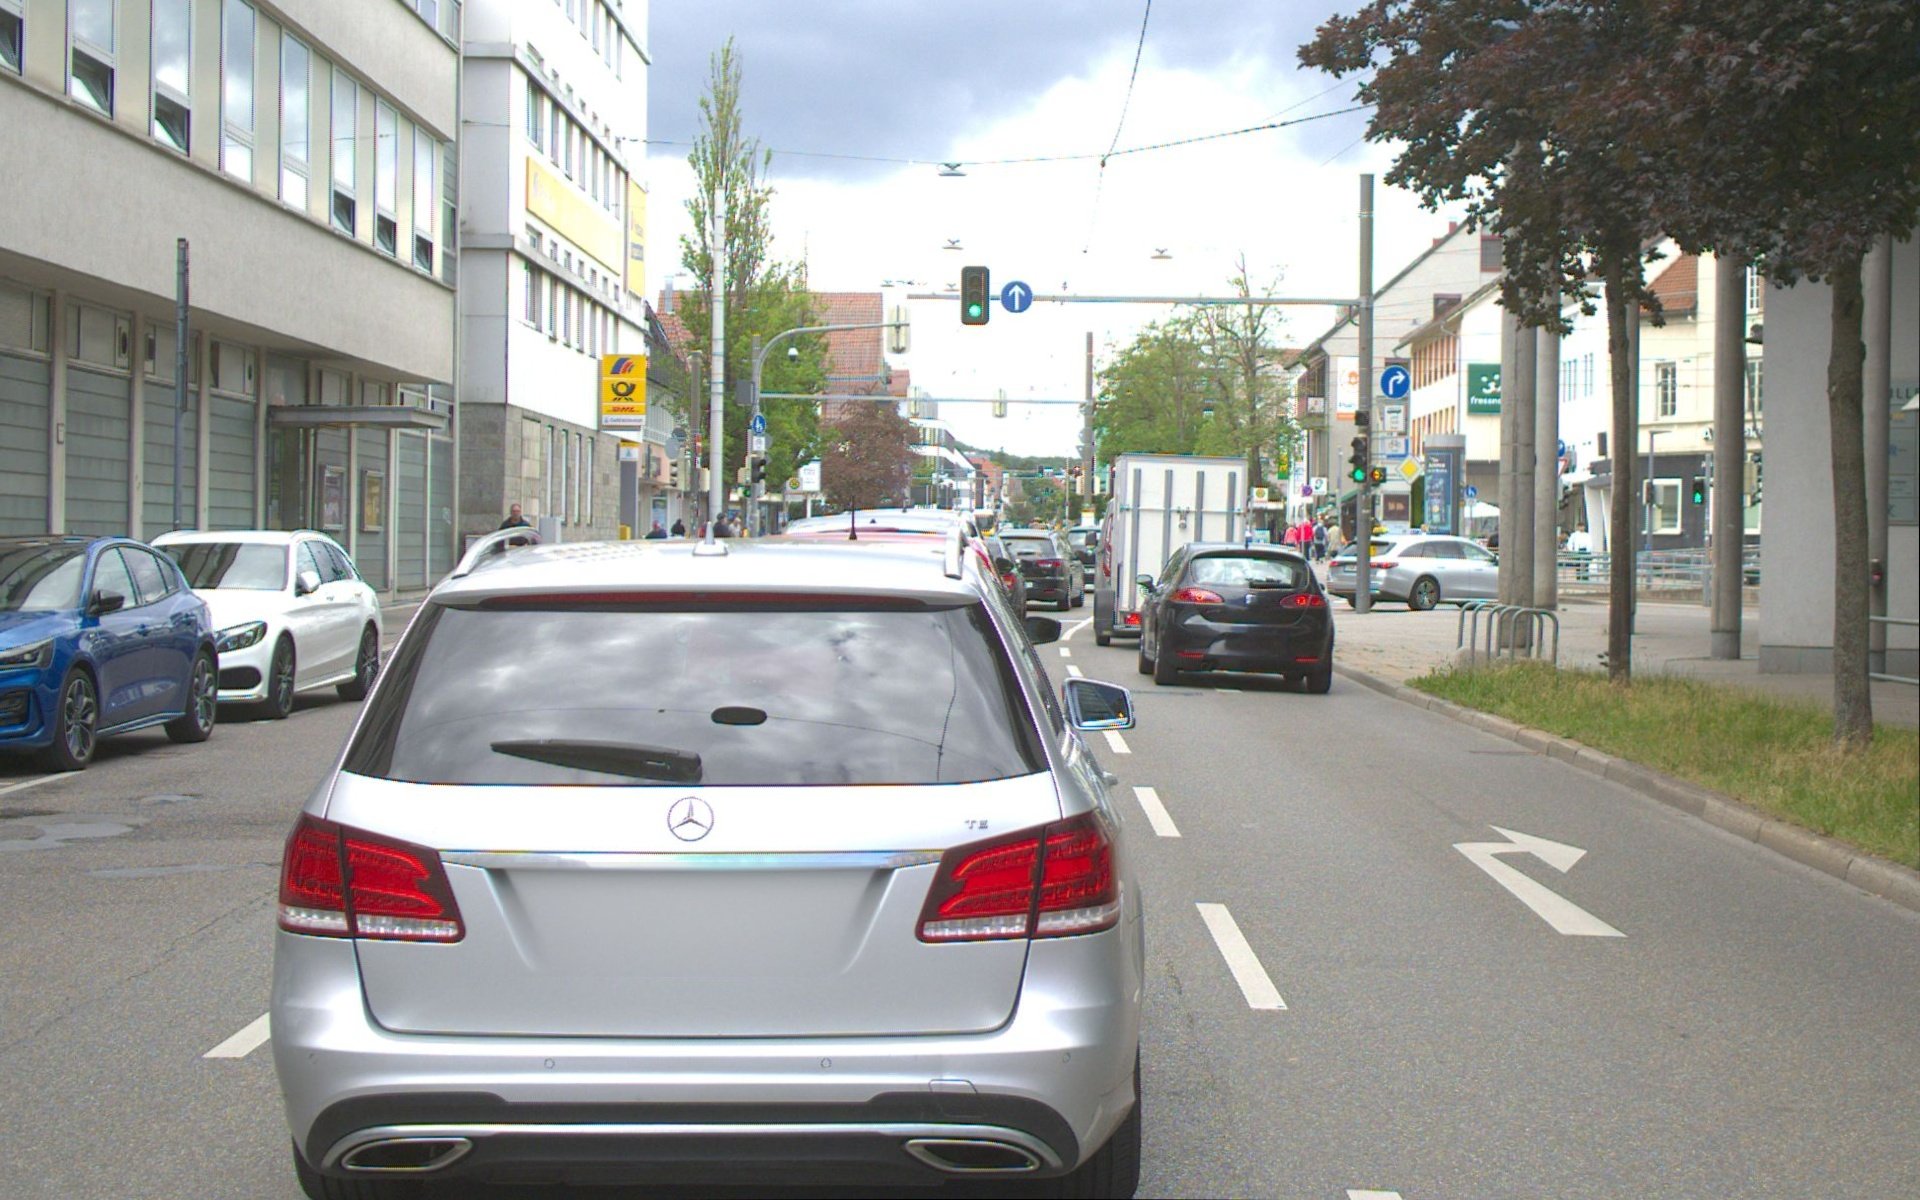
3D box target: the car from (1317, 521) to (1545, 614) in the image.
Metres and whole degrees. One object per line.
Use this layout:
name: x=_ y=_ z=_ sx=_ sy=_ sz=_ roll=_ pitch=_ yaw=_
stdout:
car: x=9.181 y=-0.617 z=66.841 sx=4.546 sy=1.600 sz=1.739 roll=2 pitch=2 yaw=-41

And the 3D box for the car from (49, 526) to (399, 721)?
car: x=-5.912 y=0.129 z=28.163 sx=1.670 sy=1.429 sz=4.552 roll=-1 pitch=1 yaw=3

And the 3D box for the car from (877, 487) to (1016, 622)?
car: x=-0.200 y=-0.655 z=47.703 sx=1.828 sy=1.779 sz=4.000 roll=1 pitch=1 yaw=-1

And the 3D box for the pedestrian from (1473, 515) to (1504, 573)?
pedestrian: x=15.725 y=-1.680 z=102.327 sx=0.649 sy=1.712 sz=0.703 roll=1 pitch=1 yaw=36

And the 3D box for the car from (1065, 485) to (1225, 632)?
car: x=2.647 y=-0.631 z=50.135 sx=1.877 sy=1.939 sz=4.907 roll=3 pitch=1 yaw=-1

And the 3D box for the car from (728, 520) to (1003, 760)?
car: x=-0.638 y=0.208 z=23.792 sx=1.734 sy=1.503 sz=4.000 roll=0 pitch=1 yaw=-1

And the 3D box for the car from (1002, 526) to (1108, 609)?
car: x=1.695 y=-0.618 z=62.674 sx=1.734 sy=1.406 sz=4.001 roll=0 pitch=2 yaw=-1

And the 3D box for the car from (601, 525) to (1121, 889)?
car: x=-0.338 y=0.405 z=16.515 sx=1.735 sy=1.503 sz=3.999 roll=1 pitch=1 yaw=10

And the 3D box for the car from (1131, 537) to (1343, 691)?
car: x=2.731 y=0.098 z=34.691 sx=1.734 sy=1.406 sz=4.001 roll=0 pitch=2 yaw=-1

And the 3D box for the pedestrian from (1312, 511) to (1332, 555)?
pedestrian: x=13.832 y=-2.575 z=131.458 sx=0.578 sy=1.660 sz=0.651 roll=2 pitch=1 yaw=-6

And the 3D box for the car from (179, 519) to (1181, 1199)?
car: x=-0.557 y=0.561 z=8.449 sx=1.845 sy=1.503 sz=4.171 roll=0 pitch=1 yaw=-1

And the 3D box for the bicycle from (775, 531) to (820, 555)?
bicycle: x=-7.268 y=-2.537 z=153.370 sx=1.937 sy=1.025 sz=0.530 roll=2 pitch=1 yaw=-8

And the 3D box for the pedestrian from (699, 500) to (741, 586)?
pedestrian: x=-4.886 y=-1.159 z=69.988 sx=0.648 sy=1.712 sz=0.782 roll=2 pitch=1 yaw=8

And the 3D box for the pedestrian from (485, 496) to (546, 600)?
pedestrian: x=-7.526 y=-0.884 z=58.263 sx=0.861 sy=1.712 sz=1.032 roll=2 pitch=1 yaw=-1

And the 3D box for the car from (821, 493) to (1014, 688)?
car: x=-0.421 y=-0.130 z=33.096 sx=1.734 sy=1.753 sz=4.000 roll=0 pitch=1 yaw=-1

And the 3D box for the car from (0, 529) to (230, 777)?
car: x=-6.166 y=0.276 z=22.146 sx=1.815 sy=1.421 sz=4.264 roll=-1 pitch=1 yaw=3

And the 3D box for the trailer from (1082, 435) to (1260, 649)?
trailer: x=2.740 y=-0.786 z=45.519 sx=1.877 sy=2.604 sz=4.323 roll=3 pitch=1 yaw=-1

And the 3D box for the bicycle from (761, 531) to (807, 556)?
bicycle: x=-7.639 y=-2.469 z=149.394 sx=1.937 sy=1.025 sz=0.530 roll=2 pitch=1 yaw=-8
